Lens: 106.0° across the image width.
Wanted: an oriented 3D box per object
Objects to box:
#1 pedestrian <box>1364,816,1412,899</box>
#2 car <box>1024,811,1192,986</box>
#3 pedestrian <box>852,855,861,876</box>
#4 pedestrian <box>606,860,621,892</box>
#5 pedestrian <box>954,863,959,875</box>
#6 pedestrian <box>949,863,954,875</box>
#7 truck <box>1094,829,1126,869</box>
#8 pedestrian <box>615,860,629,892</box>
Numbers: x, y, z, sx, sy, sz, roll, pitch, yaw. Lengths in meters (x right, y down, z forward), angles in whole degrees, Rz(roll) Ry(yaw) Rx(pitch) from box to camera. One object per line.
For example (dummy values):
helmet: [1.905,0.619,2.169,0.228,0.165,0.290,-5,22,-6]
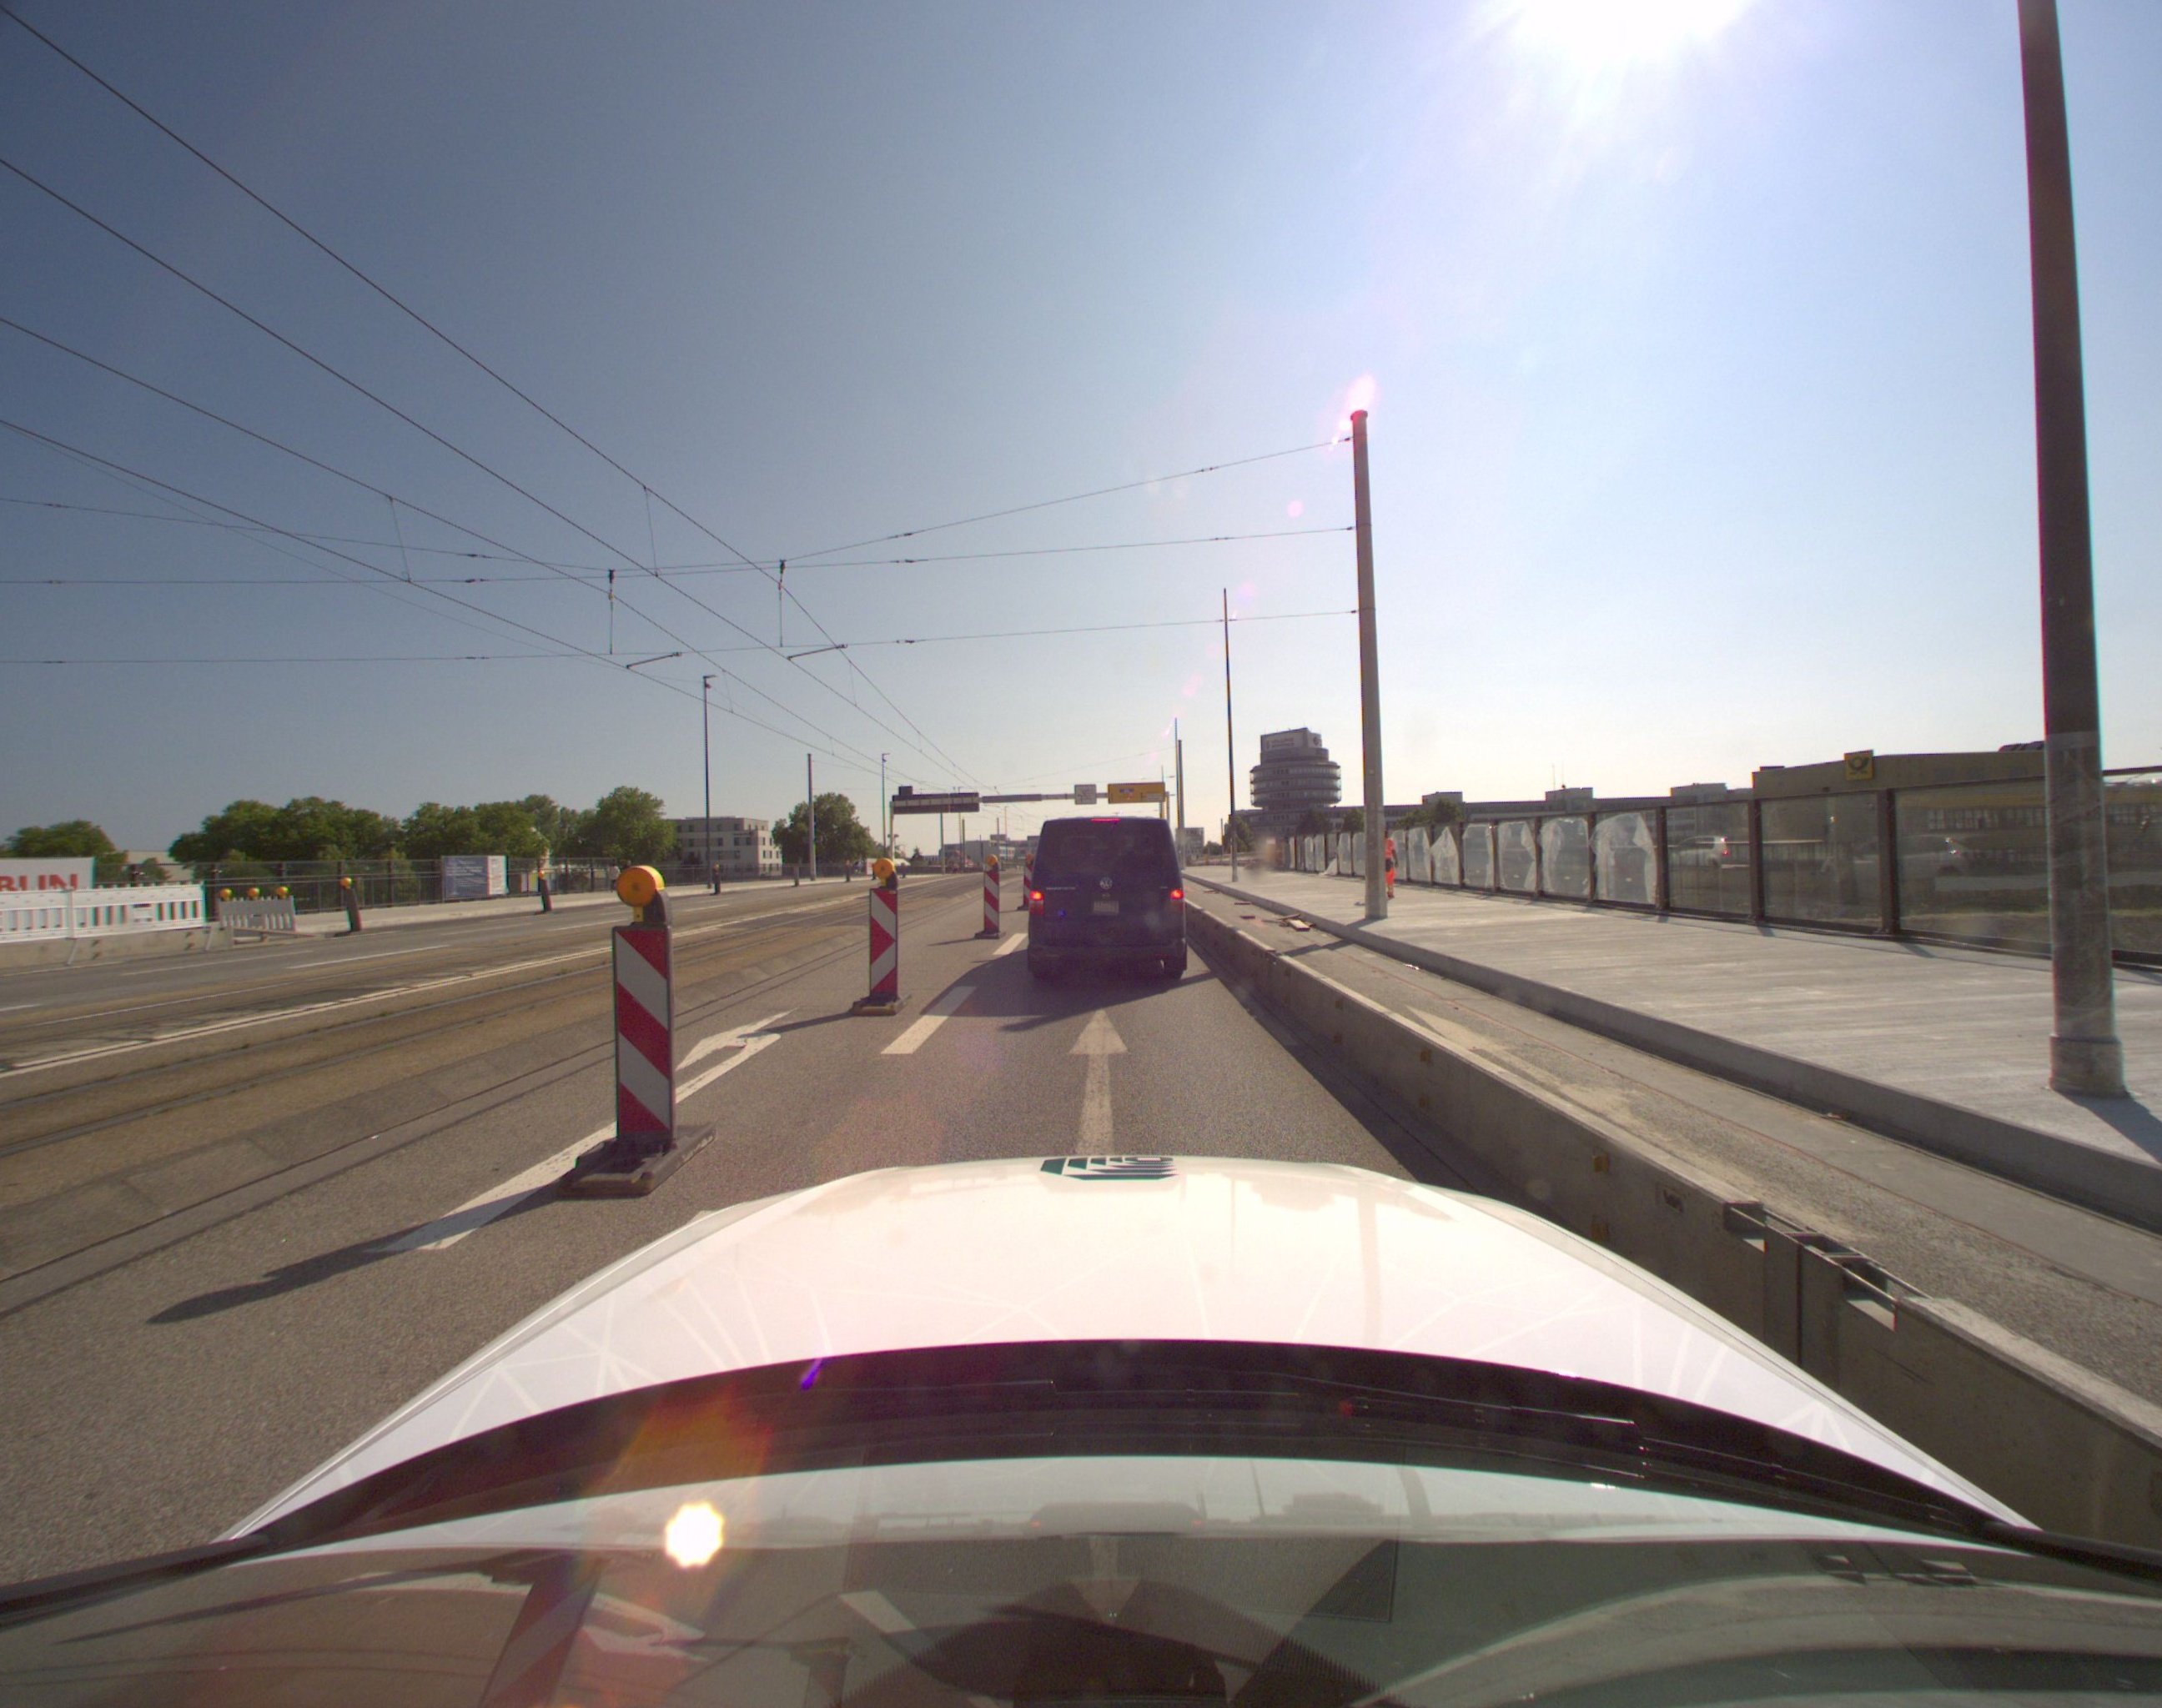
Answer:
pedestrian: [7.397,0.089,19.648,0.779,1.935,0.800,-3,-1,1]
car: [0.360,0.496,11.063,1.809,1.905,4.056,-1,0,2]
pedestrian: [-21.062,1.093,76.341,0.631,1.893,0.752,-1,0,2]
pedestrian: [-24.999,1.180,43.563,0.493,1.694,0.474,0,-1,1]
pedestrian: [-19.048,2.254,125.010,0.631,1.774,0.752,-1,0,2]
pedestrian: [-19.864,2.252,124.693,0.632,1.752,0.752,-1,0,1]
truck: [2.500,-0.514,70.734,2.451,3.134,11.221,-2,1,2]
pedestrian: [-24.390,1.149,43.291,0.493,1.694,0.474,0,-1,1]
